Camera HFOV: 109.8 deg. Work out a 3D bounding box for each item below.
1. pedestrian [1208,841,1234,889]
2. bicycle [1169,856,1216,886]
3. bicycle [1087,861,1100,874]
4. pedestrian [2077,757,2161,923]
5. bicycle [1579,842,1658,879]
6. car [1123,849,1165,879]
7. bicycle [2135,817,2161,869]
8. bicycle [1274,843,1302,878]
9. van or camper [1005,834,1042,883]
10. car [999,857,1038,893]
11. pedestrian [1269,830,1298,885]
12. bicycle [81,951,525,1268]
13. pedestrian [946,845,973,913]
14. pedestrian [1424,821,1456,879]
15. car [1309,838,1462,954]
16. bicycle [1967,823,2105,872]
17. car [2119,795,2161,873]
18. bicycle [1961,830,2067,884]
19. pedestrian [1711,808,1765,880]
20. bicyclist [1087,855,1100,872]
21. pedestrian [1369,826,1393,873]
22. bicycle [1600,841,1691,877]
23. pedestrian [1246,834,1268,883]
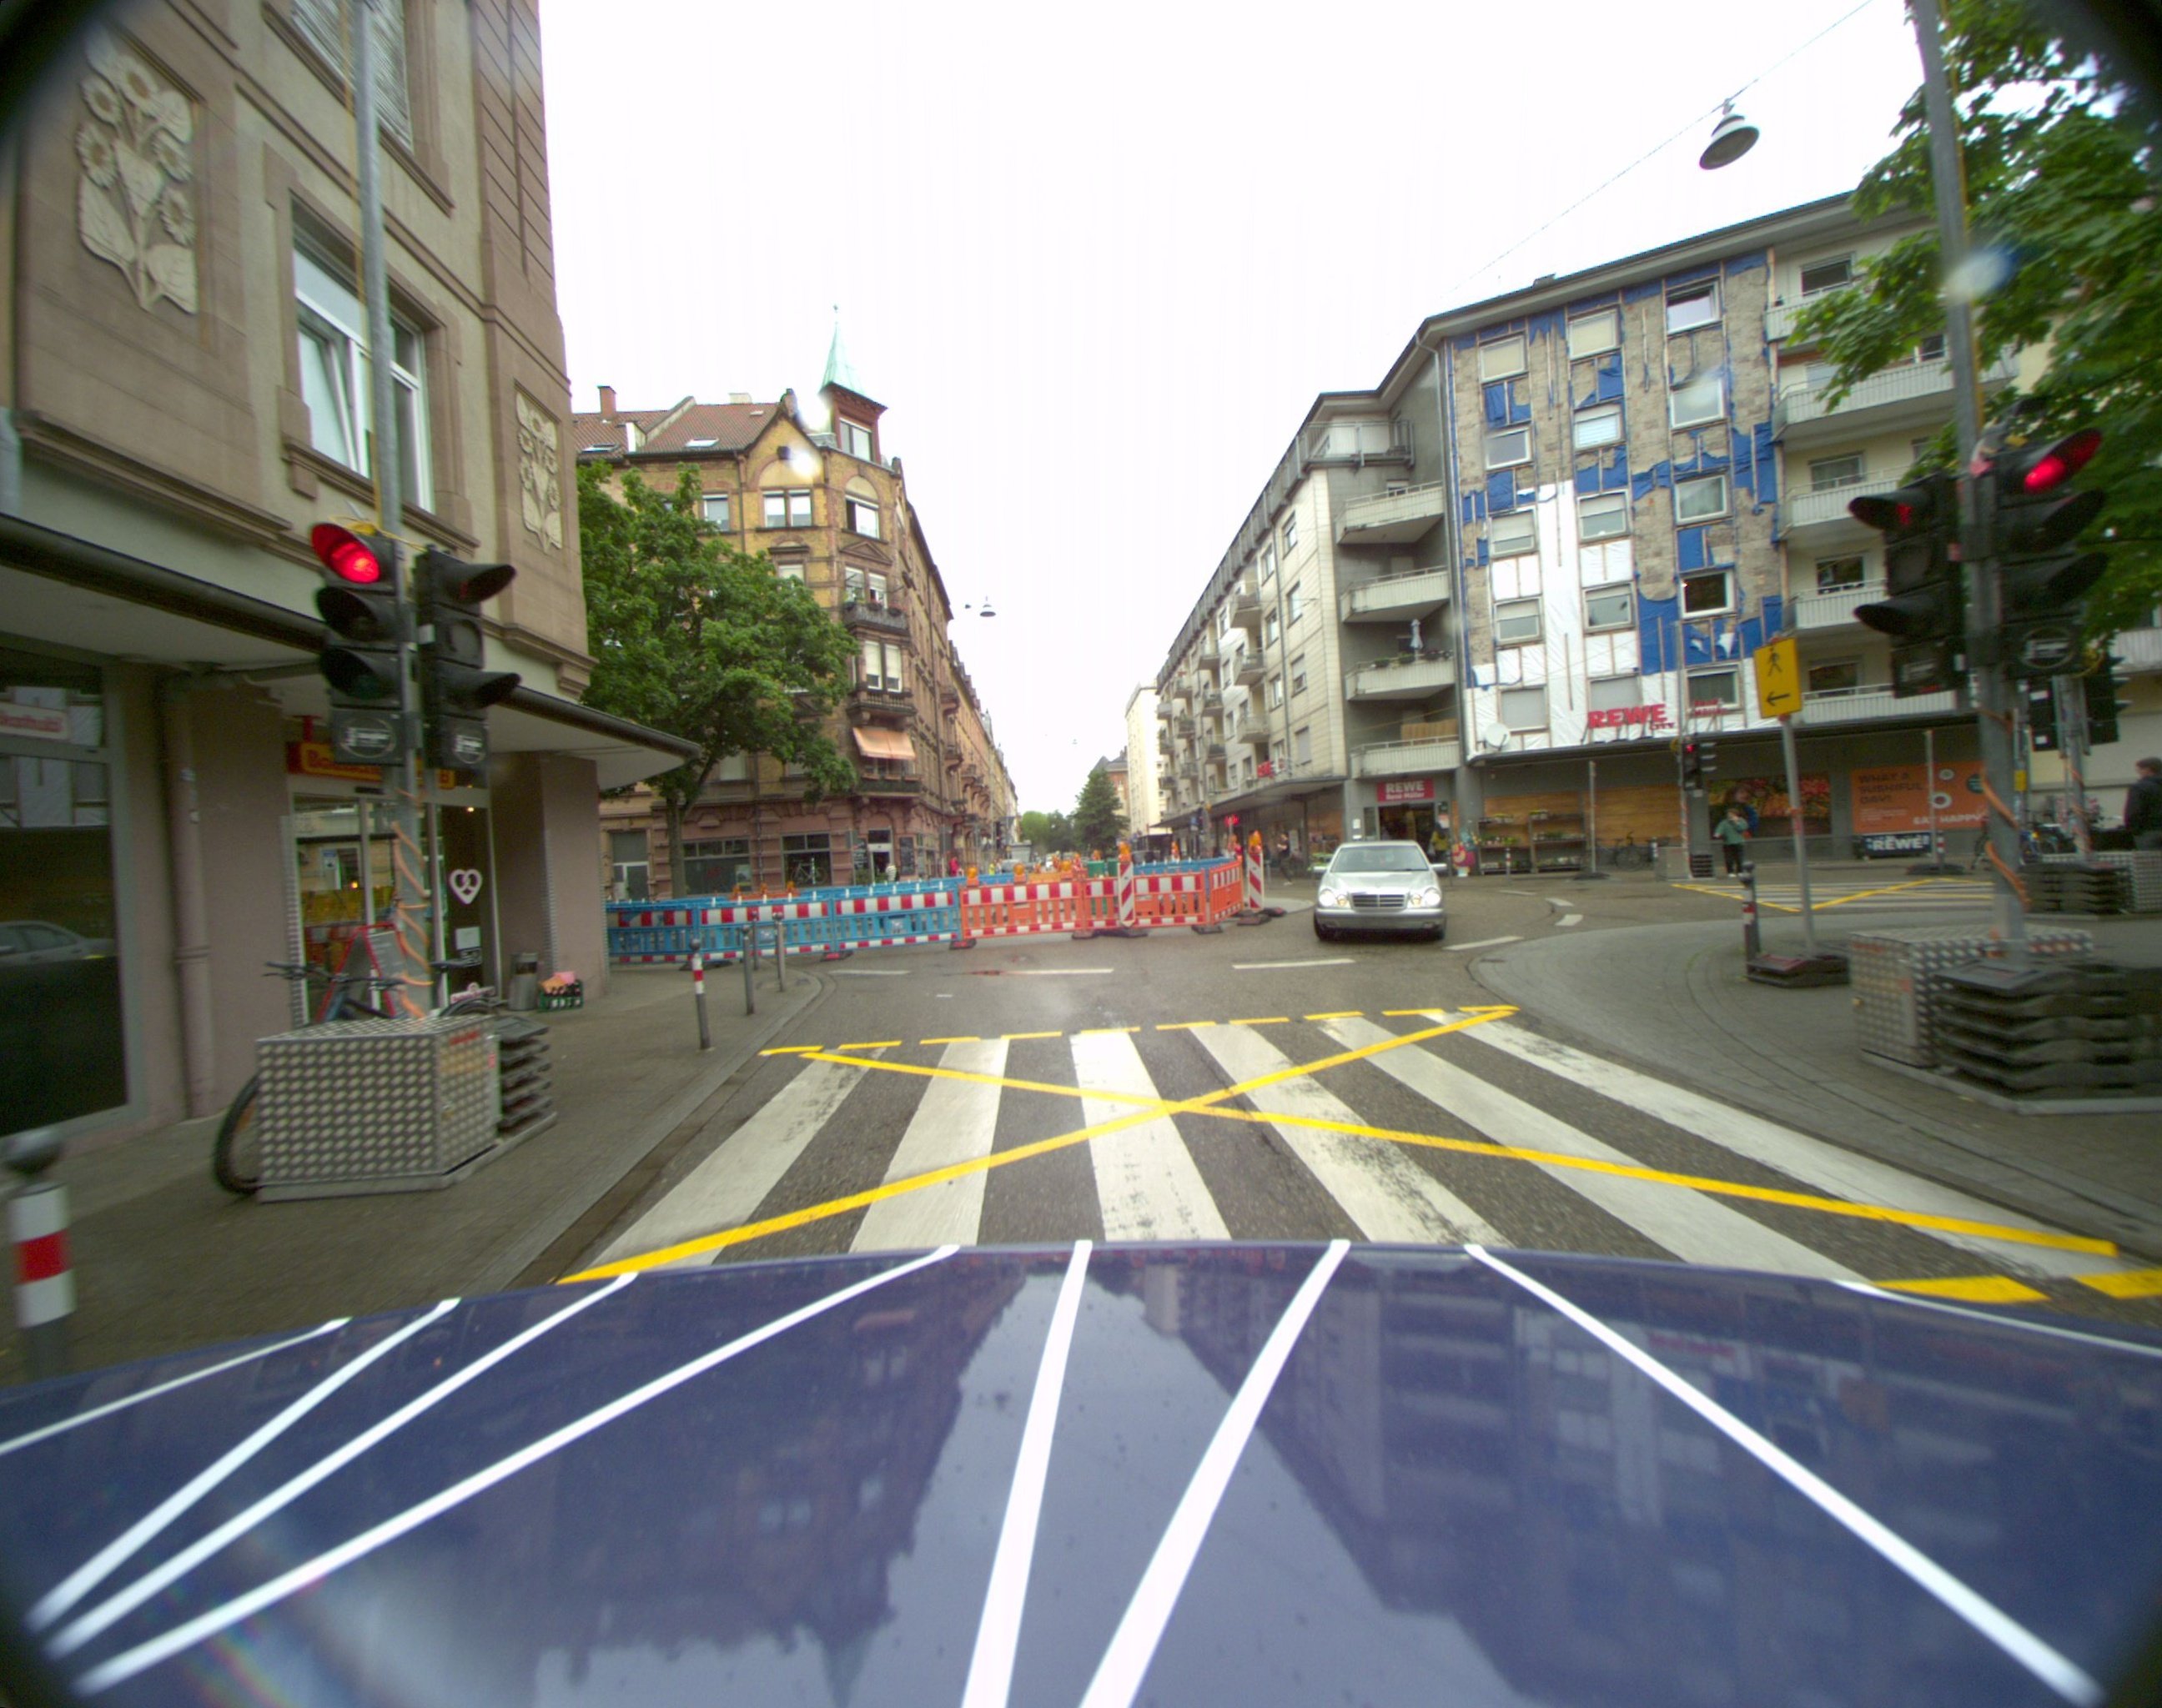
[{"bbox_3d":[5.645,0.438,30.578,0.862,1.837,0.770,-4,0,6],"label":"pedestrian"},{"bbox_3d":[5.246,0.801,35.781,2.031,1.188,0.551,-6,0,3],"label":"bicycle"},{"bbox_3d":[1.229,1.296,73.906,0.993,1.149,2.875,-4,0,-4],"label":"bicycle"},{"bbox_3d":[13.448,-0.187,9.475,0.942,2.002,0.866,-3,0,33],"label":"pedestrian"},{"bbox_3d":[15.189,0.186,21.509,0.569,0.965,1.687,-4,0,-37],"label":"bicycle"},{"bbox_3d":[4.138,0.676,50.413,1.902,1.779,3.998,-4,0,-6],"label":"car"},{"bbox_3d":[21.662,-0.266,14.697,2.001,0.966,0.589,-5,2,-7],"label":"bicycle"},{"bbox_3d":[8.722,0.272,32.076,0.450,1.365,2.023,-6,0,0],"label":"bicycle"},{"bbox_3d":[-4.302,0.356,57.064,2.412,3.307,7.071,-4,0,-4],"label":"van or camper"},{"bbox_3d":[-3.449,1.105,41.588,1.902,1.779,3.998,-4,0,-6],"label":"car"},{"bbox_3d":[7.155,0.117,26.856,0.717,1.886,0.606,-3,1,33],"label":"pedestrian"},{"bbox_3d":[-4.147,1.252,4.336,0.625,1.121,1.937,-3,0,-6],"label":"bicycle"},{"bbox_3d":[-4.797,0.983,29.939,0.697,2.594,0.539,-4,1,-34],"label":"pedestrian"},{"bbox_3d":[11.356,-0.137,24.031,0.692,1.755,0.866,-3,1,33],"label":"pedestrian"},{"bbox_3d":[5.099,0.540,12.456,1.856,1.391,4.987,-3,1,25],"label":"car"},{"bbox_3d":[21.753,-0.150,17.345,1.998,0.966,0.590,-4,2,14],"label":"bicycle"},{"bbox_3d":[24.488,-0.517,14.876,2.000,1.670,4.456,-4,0,-8],"label":"car"},{"bbox_3d":[19.103,0.033,15.614,0.588,0.966,2.004,-3,2,27],"label":"bicycle"},{"bbox_3d":[15.269,-0.238,17.680,0.797,1.606,0.606,-3,1,33],"label":"pedestrian"},{"bbox_3d":[1.205,0.886,73.906,0.993,1.591,1.261,-4,0,-4],"label":"bicyclist"},{"bbox_3d":[10.445,-0.170,26.453,0.544,1.575,0.695,-3,1,33],"label":"pedestrian"},{"bbox_3d":[16.058,0.135,21.662,0.590,0.965,1.996,-4,2,-37],"label":"bicycle"},{"bbox_3d":[6.795,0.171,29.340,0.604,1.837,0.770,-4,0,6],"label":"pedestrian"}]
